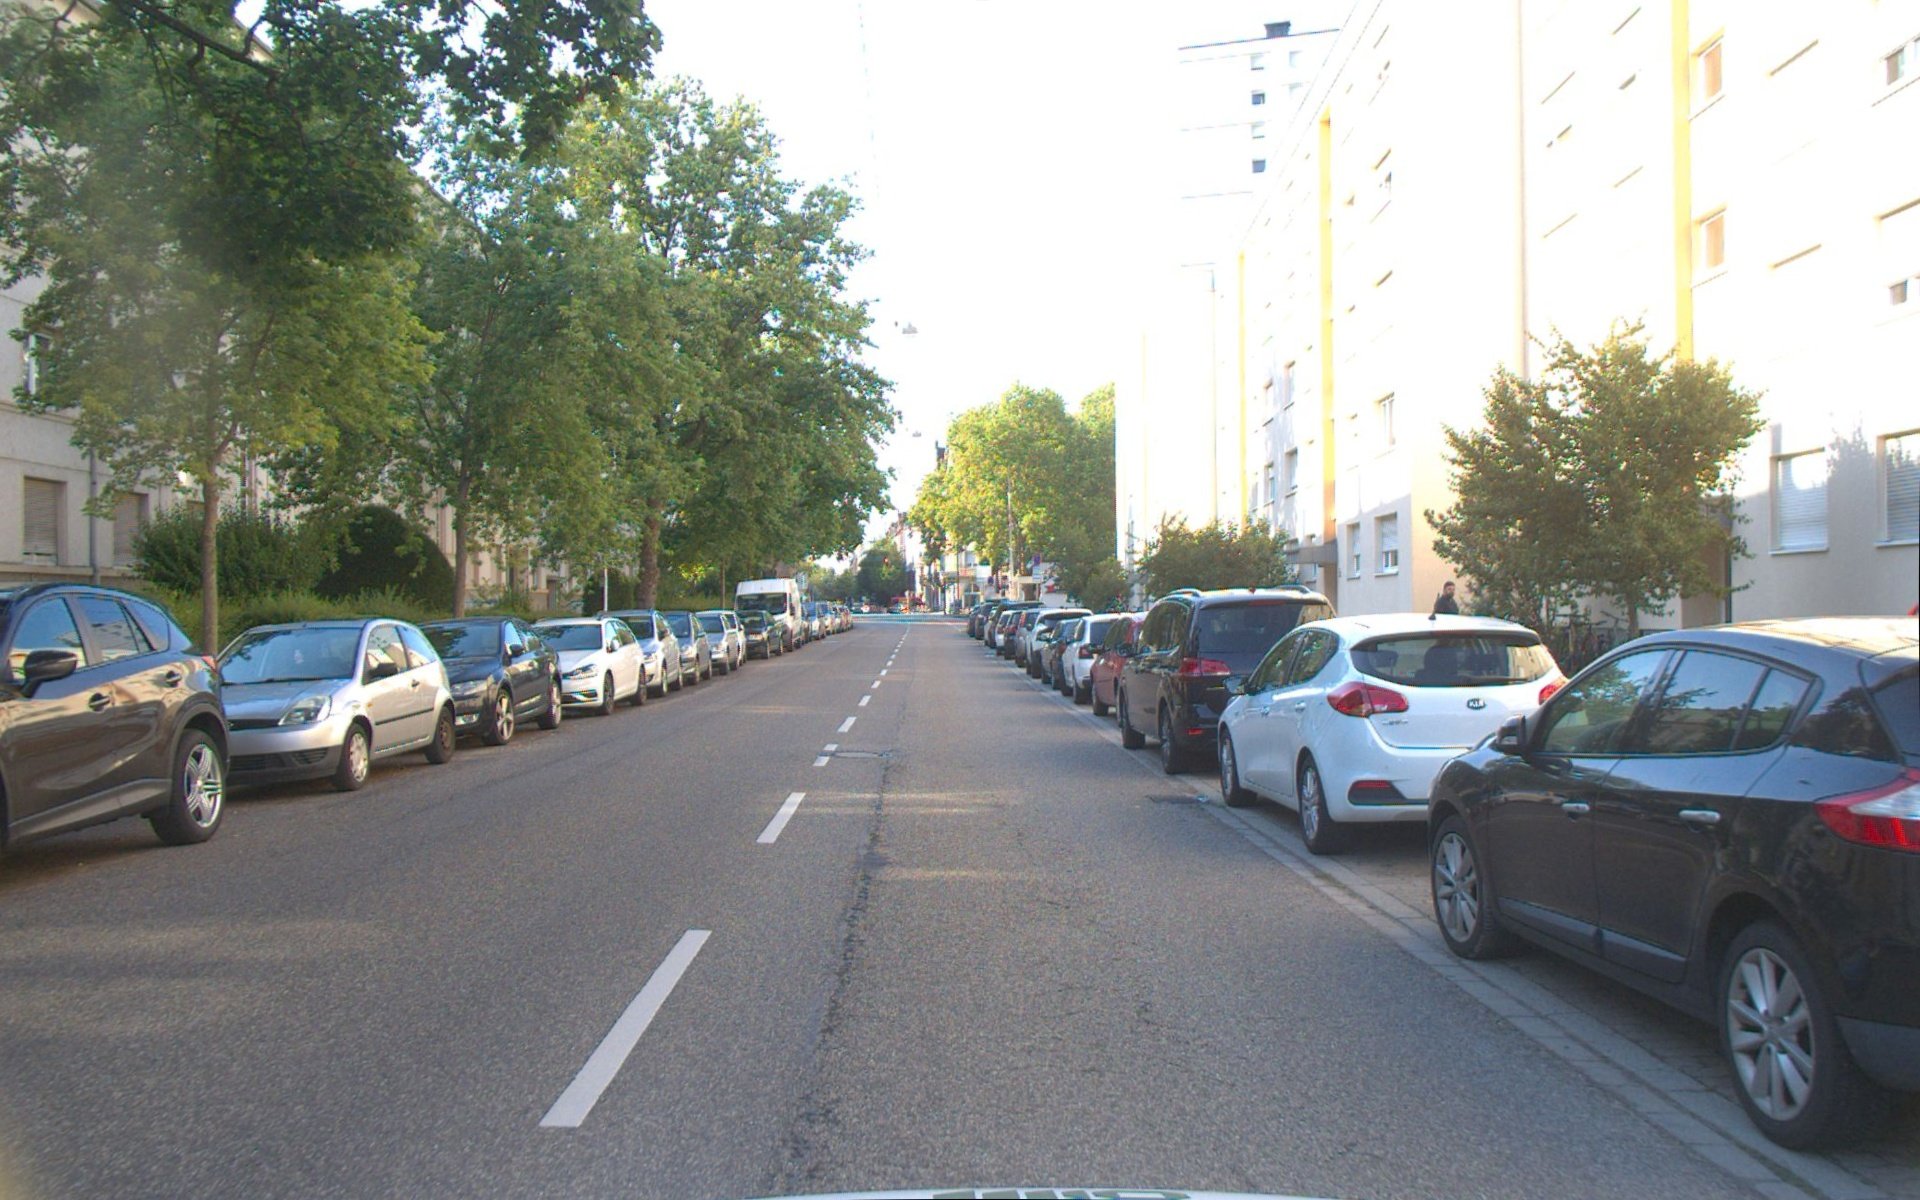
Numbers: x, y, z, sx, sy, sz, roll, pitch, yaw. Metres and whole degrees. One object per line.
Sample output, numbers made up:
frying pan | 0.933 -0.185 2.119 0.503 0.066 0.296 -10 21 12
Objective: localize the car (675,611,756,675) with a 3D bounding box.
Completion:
car | -6.570 1.149 44.700 1.673 1.601 3.260 3 -1 -1

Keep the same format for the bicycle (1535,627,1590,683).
bicycle | 10.686 0.960 29.380 0.428 0.958 1.792 1 -1 4

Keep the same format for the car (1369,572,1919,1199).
car | 3.109 0.738 6.281 1.763 1.533 4.618 0 -1 -3

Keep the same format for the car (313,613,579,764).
car | -5.985 0.972 19.890 1.836 1.459 4.800 -4 -1 -3

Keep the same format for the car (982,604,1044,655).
car | 1.927 1.085 61.241 1.983 1.780 4.765 1 -1 -1

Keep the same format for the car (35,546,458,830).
car | -5.987 0.696 14.471 1.953 2.049 3.999 -3 -1 -1

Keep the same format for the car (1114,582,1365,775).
car | 2.762 0.757 17.345 1.736 1.707 4.645 1 -1 -1

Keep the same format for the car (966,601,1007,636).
car | 1.350 0.961 84.927 1.888 1.688 4.676 1 -1 -1

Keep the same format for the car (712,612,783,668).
car | -6.418 1.211 50.237 1.672 1.601 3.818 1 -1 -1

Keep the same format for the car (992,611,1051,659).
car | 2.048 1.180 55.952 1.799 1.528 4.171 1 -1 0

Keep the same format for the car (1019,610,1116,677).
car | 2.500 1.026 39.350 1.836 1.468 3.997 1 -1 -3

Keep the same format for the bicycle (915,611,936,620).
bicycle | -4.682 2.080 222.614 2.750 1.225 0.509 2 -1 -8

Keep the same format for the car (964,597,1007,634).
car | 1.202 0.724 79.198 1.859 1.680 4.341 1 0 -2

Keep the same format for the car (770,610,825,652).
car | -6.429 1.226 65.828 1.833 1.586 4.364 1 -1 -1

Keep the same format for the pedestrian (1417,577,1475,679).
pedestrian | 8.282 0.479 28.223 0.750 1.687 0.536 -2 -1 -1

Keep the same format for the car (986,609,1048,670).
car | 1.726 1.213 51.261 1.799 1.803 3.978 1 -1 0

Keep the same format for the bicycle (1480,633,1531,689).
bicycle | 9.680 1.070 29.410 0.428 0.958 1.792 1 -1 4

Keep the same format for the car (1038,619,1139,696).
car | 2.578 1.147 34.033 1.627 1.463 4.311 1 -1 -1

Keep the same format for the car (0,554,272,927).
car | -5.604 0.735 9.082 1.836 1.790 4.686 -3 -1 -3

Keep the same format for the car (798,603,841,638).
car | -7.198 1.083 85.130 1.877 1.707 4.972 1 -1 -1

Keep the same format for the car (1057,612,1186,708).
car | 2.746 1.015 28.912 1.736 1.479 3.999 -3 -1 -1

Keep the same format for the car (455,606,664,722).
car | -6.031 0.939 25.501 1.963 1.579 4.472 1 -1 2

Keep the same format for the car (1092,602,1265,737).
car | 2.898 0.911 22.683 1.736 1.645 3.999 1 -1 -1

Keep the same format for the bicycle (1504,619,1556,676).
bicycle | 10.136 0.838 29.452 0.428 0.958 1.792 1 -1 4

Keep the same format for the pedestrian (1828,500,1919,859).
pedestrian | 5.585 0.438 9.143 0.870 1.924 1.279 1 -1 -1

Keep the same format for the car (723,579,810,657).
car | -6.632 0.645 57.335 2.310 2.488 6.163 1 -1 -1

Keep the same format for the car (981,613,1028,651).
car | 1.792 1.311 67.201 1.645 1.440 4.722 1 -1 -1

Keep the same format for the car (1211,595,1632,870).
car | 3.026 0.812 11.748 1.736 1.534 3.999 -3 -1 -1

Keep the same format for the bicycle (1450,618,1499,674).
bicycle | 9.155 0.814 29.470 0.428 0.958 1.792 1 -1 4

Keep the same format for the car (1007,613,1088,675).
car | 2.406 1.218 46.393 1.922 1.633 4.278 1 -1 -1

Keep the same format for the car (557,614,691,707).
car | -6.180 1.092 30.836 1.836 1.579 3.997 1 -1 -3

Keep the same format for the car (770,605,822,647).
car | -7.268 1.127 73.887 1.833 1.585 5.055 -5 0 -2

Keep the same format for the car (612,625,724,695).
car | -6.198 1.252 35.512 1.836 1.379 3.997 1 -1 -3

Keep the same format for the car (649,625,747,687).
car | -6.322 1.321 40.396 1.836 1.379 4.650 1 -1 -3
